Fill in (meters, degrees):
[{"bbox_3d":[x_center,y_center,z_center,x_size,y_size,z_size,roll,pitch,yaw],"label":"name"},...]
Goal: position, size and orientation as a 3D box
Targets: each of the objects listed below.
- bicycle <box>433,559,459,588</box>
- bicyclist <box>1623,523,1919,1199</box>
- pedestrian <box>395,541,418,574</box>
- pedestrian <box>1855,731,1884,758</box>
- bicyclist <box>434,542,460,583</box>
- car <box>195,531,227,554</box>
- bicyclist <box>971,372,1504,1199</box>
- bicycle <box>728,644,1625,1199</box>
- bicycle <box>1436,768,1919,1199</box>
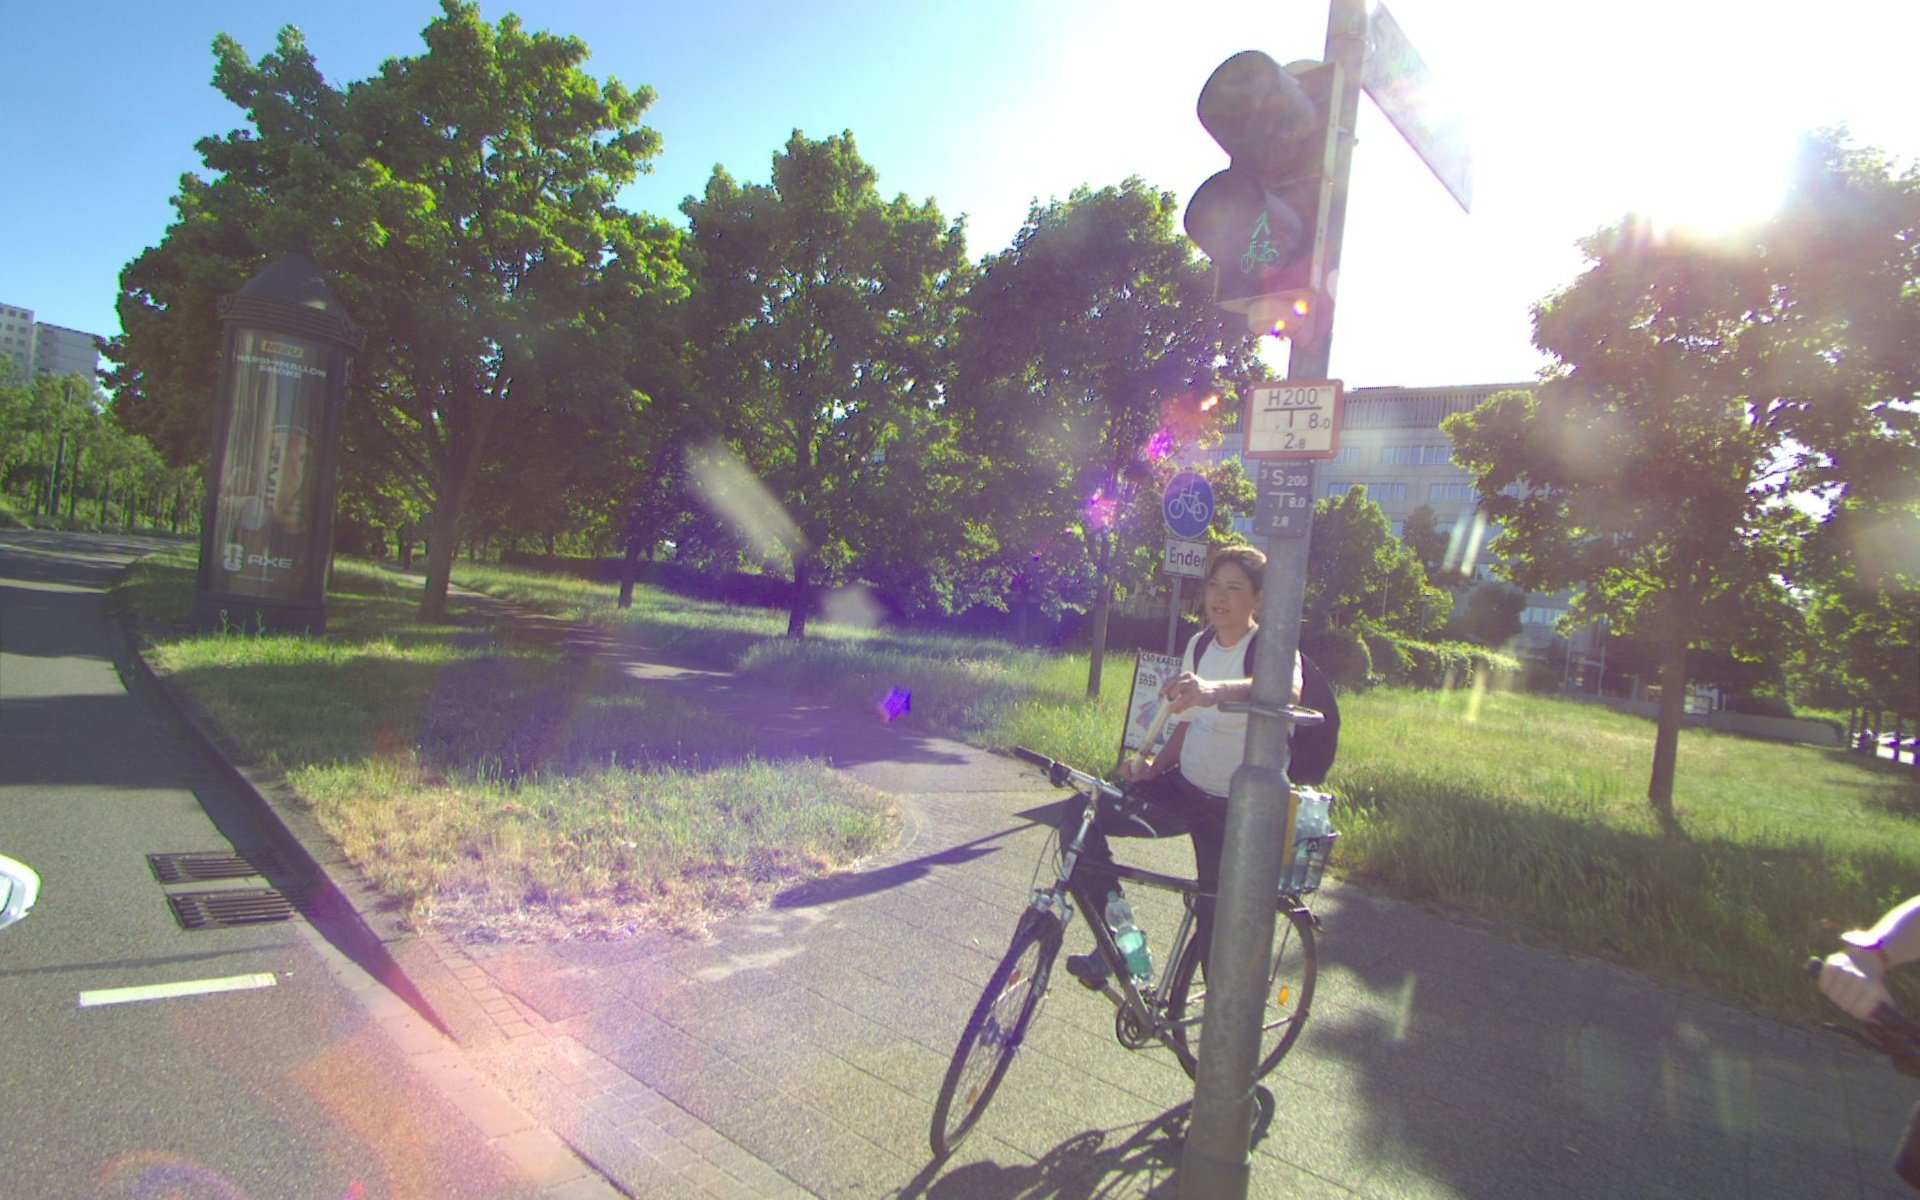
[{"bbox_3d":[-21.573,-1.128,42.190,0.667,1.068,1.795,7,0,-34],"label":"bicycle"},{"bbox_3d":[1.827,0.880,1.515,1.117,1.846,0.791,7,0,-13],"label":"bicyclist"},{"bbox_3d":[-31.733,-2.438,57.670,0.877,1.747,0.736,7,0,43],"label":"pedestrian"},{"bbox_3d":[47.247,7.484,52.257,0.832,1.232,0.728,8,1,28],"label":"pedestrian"},{"bbox_3d":[-21.508,-1.561,42.173,0.667,1.605,0.995,7,0,-34],"label":"bicyclist"},{"bbox_3d":[-63.847,-4.905,85.780,1.675,1.596,3.844,6,-3,-30],"label":"car"},{"bbox_3d":[0.719,0.507,2.879,0.995,1.983,0.791,7,0,-13],"label":"bicyclist"},{"bbox_3d":[0.556,0.957,2.863,2.226,1.364,0.791,7,0,-13],"label":"bicycle"},{"bbox_3d":[1.875,1.096,1.528,2.045,1.364,0.791,7,0,-13],"label":"bicycle"}]
